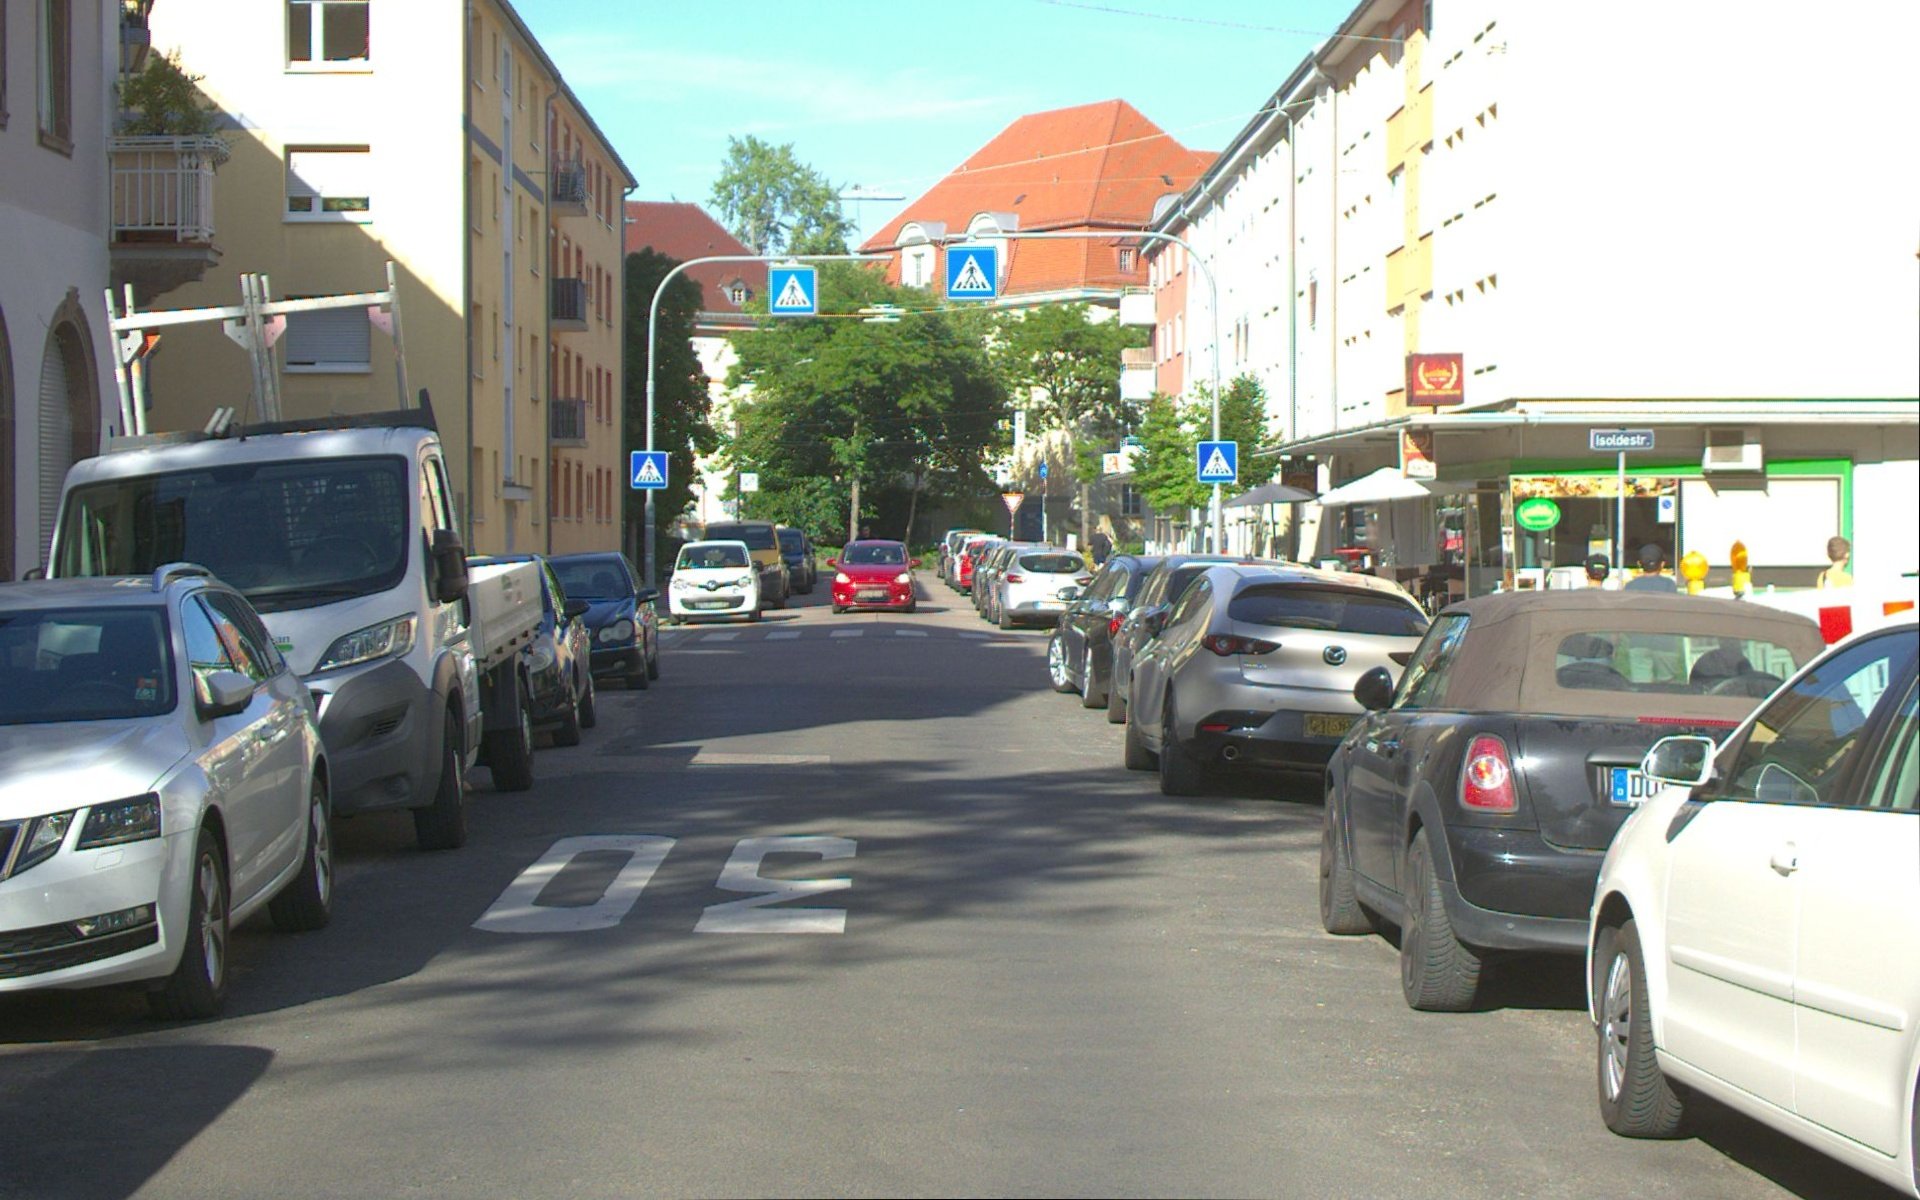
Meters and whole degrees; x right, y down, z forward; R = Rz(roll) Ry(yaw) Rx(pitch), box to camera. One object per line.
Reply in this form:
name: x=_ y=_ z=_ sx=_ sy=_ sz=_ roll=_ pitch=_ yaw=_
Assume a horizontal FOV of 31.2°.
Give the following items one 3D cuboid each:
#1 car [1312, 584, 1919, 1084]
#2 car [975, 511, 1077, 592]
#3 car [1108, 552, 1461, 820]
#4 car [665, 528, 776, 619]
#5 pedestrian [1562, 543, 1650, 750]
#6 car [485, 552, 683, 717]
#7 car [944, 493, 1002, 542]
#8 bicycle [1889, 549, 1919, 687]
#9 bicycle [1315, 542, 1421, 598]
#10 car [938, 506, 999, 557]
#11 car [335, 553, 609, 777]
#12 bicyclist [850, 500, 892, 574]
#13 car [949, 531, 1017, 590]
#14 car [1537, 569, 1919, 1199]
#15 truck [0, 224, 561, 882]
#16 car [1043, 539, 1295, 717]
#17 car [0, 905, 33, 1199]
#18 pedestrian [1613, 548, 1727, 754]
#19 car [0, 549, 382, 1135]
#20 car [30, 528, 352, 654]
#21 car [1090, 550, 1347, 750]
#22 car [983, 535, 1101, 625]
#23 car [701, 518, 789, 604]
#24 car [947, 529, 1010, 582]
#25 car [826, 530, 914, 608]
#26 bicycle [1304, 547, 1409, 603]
car: x=2.361 y=0.733 z=12.635 sx=1.688 sy=1.462 sz=3.583 roll=2 pitch=1 yaw=-1
car: x=1.239 y=-0.944 z=65.796 sx=1.690 sy=1.435 sz=3.419 roll=-2 pitch=2 yaw=-2
car: x=1.991 y=0.476 z=22.274 sx=1.792 sy=1.466 sz=4.339 roll=2 pitch=1 yaw=-1
car: x=-4.511 y=-0.533 z=65.213 sx=1.791 sy=1.475 sz=4.099 roll=-3 pitch=3 yaw=-1
pedestrian: x=4.615 y=0.326 z=24.553 sx=0.506 sy=1.428 sz=0.451 roll=-3 pitch=3 yaw=17
car: x=-3.859 y=0.311 z=35.891 sx=1.703 sy=1.411 sz=4.375 roll=-6 pitch=1 yaw=-3
car: x=0.396 y=-2.587 z=107.681 sx=1.637 sy=1.435 sz=3.419 roll=-2 pitch=2 yaw=-2
bicycle: x=8.245 y=0.157 z=28.249 sx=0.560 sy=1.115 sz=1.898 roll=-7 pitch=2 yaw=-1
bicycle: x=7.593 y=-0.560 z=63.933 sx=1.806 sy=0.964 sz=0.674 roll=-2 pitch=2 yaw=-11
car: x=0.237 y=-2.072 z=103.300 sx=1.637 sy=1.435 sz=3.419 roll=-2 pitch=2 yaw=-2
car: x=-3.716 y=0.440 z=26.760 sx=1.645 sy=1.411 sz=4.082 roll=-6 pitch=1 yaw=-3
bicyclist: x=-2.040 y=-1.453 z=78.895 sx=0.786 sy=1.615 sz=0.956 roll=-4 pitch=2 yaw=3
car: x=0.590 y=-1.074 z=92.144 sx=1.637 sy=1.435 sz=3.419 roll=-2 pitch=2 yaw=-2
car: x=2.642 y=0.741 z=7.821 sx=1.685 sy=1.457 sz=3.820 roll=3 pitch=1 yaw=-4
truck: x=-3.646 y=-0.307 z=19.647 sx=2.259 sy=2.976 sz=7.277 roll=-2 pitch=1 yaw=-4
car: x=1.910 y=0.204 z=32.811 sx=1.853 sy=1.518 sz=4.778 roll=-1 pitch=1 yaw=-3
car: x=-3.252 y=0.832 z=6.264 sx=1.792 sy=1.557 sz=4.460 roll=-6 pitch=1 yaw=0
pedestrian: x=5.078 y=0.366 z=24.586 sx=0.576 sy=1.428 sz=0.470 roll=-2 pitch=3 yaw=38
car: x=-3.341 y=0.758 z=12.425 sx=1.792 sy=1.535 sz=4.642 roll=-8 pitch=3 yaw=-3
car: x=-10.240 y=-0.140 z=45.737 sx=3.978 sy=1.474 sz=1.595 roll=-3 pitch=2 yaw=-18
car: x=2.037 y=0.351 z=28.024 sx=1.645 sy=1.455 sz=3.940 roll=-1 pitch=1 yaw=-2
car: x=1.433 y=-0.379 z=60.987 sx=1.845 sy=1.435 sz=3.419 roll=-2 pitch=2 yaw=-2
car: x=-4.733 y=-0.890 z=76.138 sx=1.697 sy=1.772 sz=4.099 roll=-2 pitch=2 yaw=-1
car: x=0.525 y=-1.287 z=98.291 sx=1.637 sy=1.436 sz=3.419 roll=-1 pitch=1 yaw=-2
car: x=-1.849 y=-0.646 z=69.926 sx=1.697 sy=1.435 sz=3.419 roll=-2 pitch=2 yaw=-2
bicycle: x=7.448 y=-0.475 z=64.598 sx=1.806 sy=0.964 sz=0.674 roll=-2 pitch=2 yaw=-11
